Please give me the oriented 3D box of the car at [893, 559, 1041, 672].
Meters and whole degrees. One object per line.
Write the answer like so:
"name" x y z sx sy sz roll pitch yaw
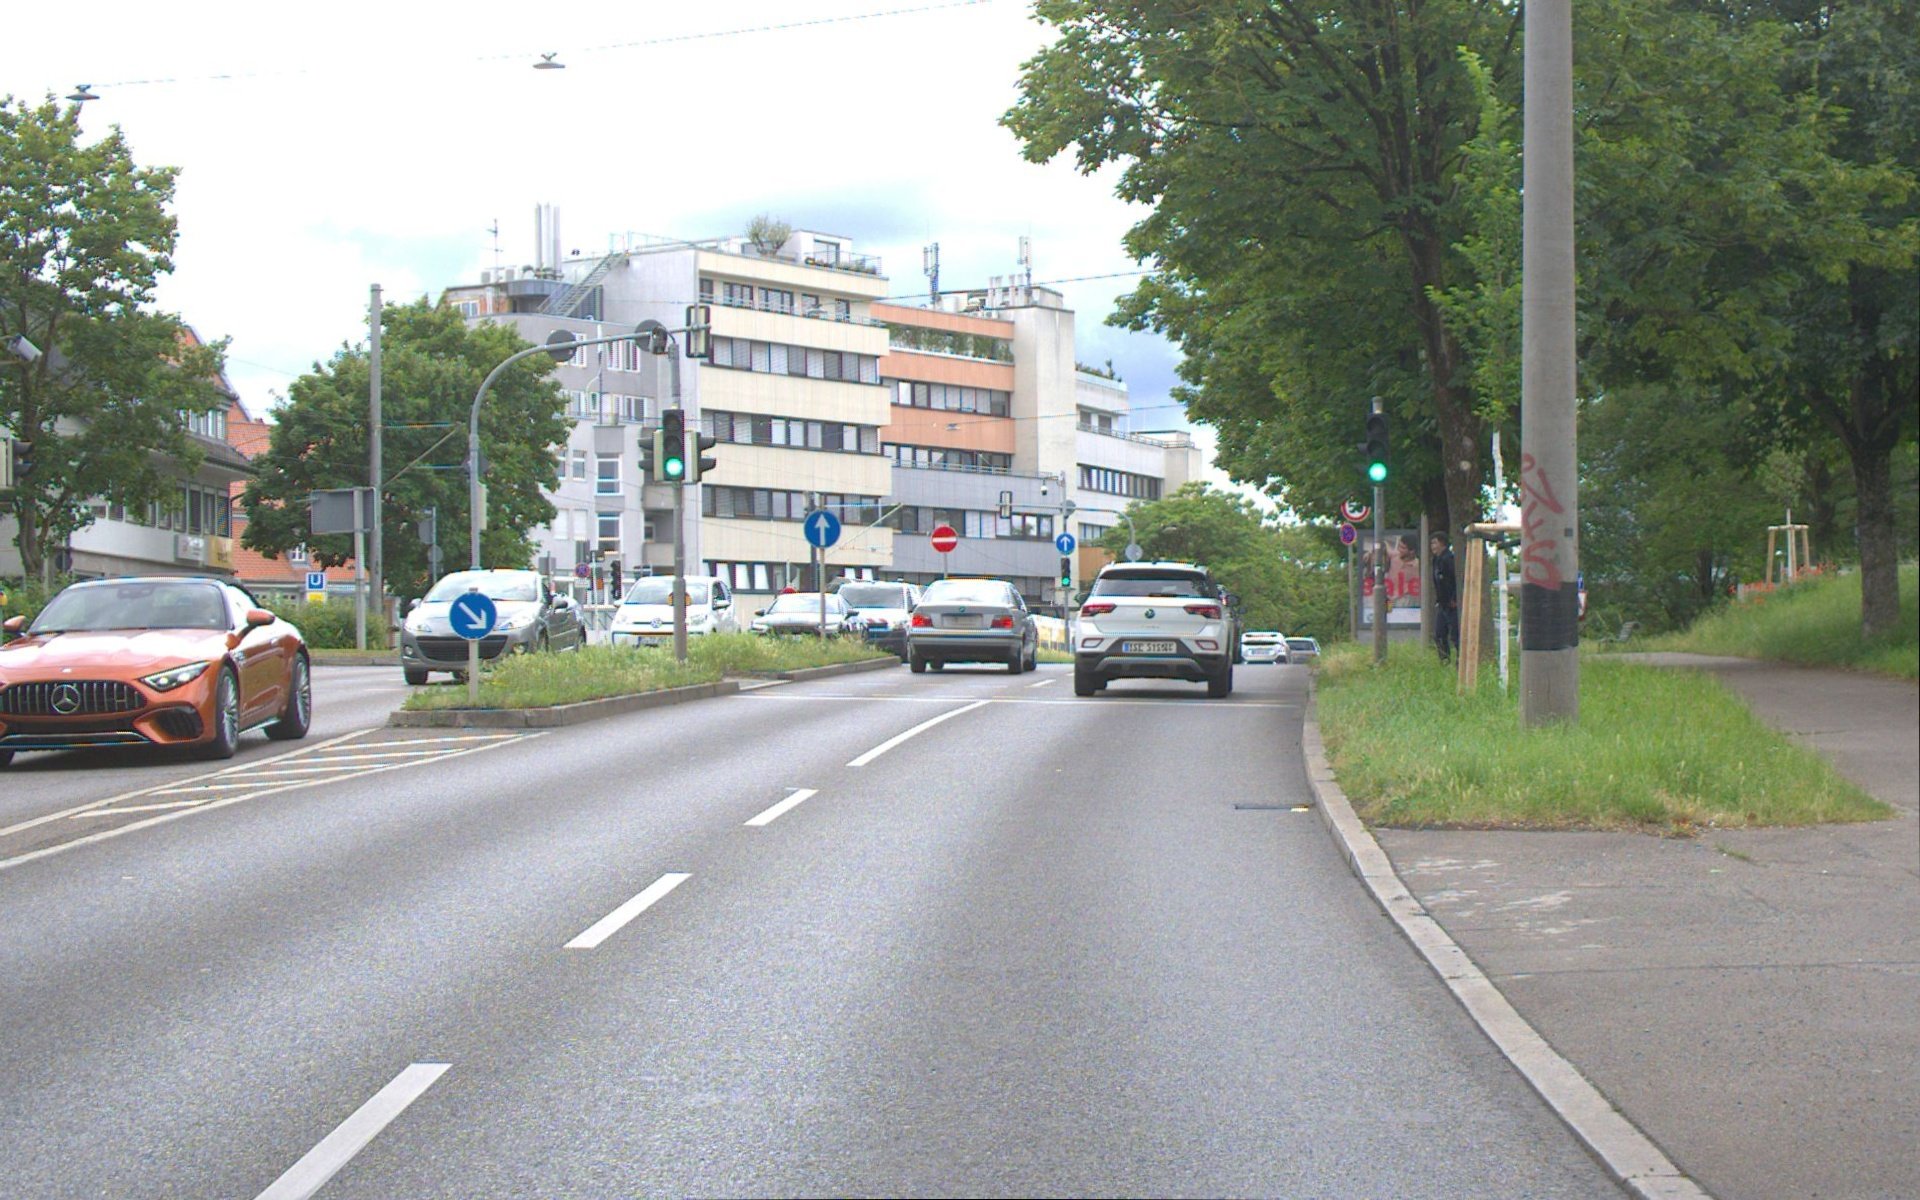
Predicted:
"car" 0.146 0.199 50.805 1.700 1.510 3.735 0 2 8

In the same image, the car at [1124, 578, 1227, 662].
"car" 3.982 0.368 63.946 1.700 1.511 3.493 0 0 0

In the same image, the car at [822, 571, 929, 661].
"car" -1.931 0.348 80.115 1.836 1.995 4.856 1 1 7

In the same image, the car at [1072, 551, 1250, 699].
"car" 2.419 0.250 40.561 1.700 1.543 3.735 3 2 8

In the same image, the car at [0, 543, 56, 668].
"car" -13.320 0.077 42.174 1.780 1.539 3.990 0 1 43

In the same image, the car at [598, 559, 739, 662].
"car" -4.614 0.141 54.939 1.777 1.560 4.000 0 1 2

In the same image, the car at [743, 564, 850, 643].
"car" -3.260 0.047 69.254 1.777 1.476 4.481 -1 1 2

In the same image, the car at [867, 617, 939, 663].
"car" -1.834 1.300 112.309 1.862 1.423 3.999 0 0 6

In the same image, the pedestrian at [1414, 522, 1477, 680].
"pedestrian" 5.729 0.011 40.581 0.642 1.849 0.673 0 1 0

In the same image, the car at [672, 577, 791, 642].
"car" -5.052 0.186 76.433 1.784 1.374 3.949 1 1 9

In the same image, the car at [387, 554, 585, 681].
"car" -5.837 0.182 42.717 1.777 1.476 3.980 0 1 2

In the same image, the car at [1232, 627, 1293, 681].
"car" 9.621 1.702 109.514 1.770 1.565 4.285 -1 1 3

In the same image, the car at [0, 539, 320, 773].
"car" -6.257 0.366 26.450 1.770 1.565 4.285 -3 1 0
